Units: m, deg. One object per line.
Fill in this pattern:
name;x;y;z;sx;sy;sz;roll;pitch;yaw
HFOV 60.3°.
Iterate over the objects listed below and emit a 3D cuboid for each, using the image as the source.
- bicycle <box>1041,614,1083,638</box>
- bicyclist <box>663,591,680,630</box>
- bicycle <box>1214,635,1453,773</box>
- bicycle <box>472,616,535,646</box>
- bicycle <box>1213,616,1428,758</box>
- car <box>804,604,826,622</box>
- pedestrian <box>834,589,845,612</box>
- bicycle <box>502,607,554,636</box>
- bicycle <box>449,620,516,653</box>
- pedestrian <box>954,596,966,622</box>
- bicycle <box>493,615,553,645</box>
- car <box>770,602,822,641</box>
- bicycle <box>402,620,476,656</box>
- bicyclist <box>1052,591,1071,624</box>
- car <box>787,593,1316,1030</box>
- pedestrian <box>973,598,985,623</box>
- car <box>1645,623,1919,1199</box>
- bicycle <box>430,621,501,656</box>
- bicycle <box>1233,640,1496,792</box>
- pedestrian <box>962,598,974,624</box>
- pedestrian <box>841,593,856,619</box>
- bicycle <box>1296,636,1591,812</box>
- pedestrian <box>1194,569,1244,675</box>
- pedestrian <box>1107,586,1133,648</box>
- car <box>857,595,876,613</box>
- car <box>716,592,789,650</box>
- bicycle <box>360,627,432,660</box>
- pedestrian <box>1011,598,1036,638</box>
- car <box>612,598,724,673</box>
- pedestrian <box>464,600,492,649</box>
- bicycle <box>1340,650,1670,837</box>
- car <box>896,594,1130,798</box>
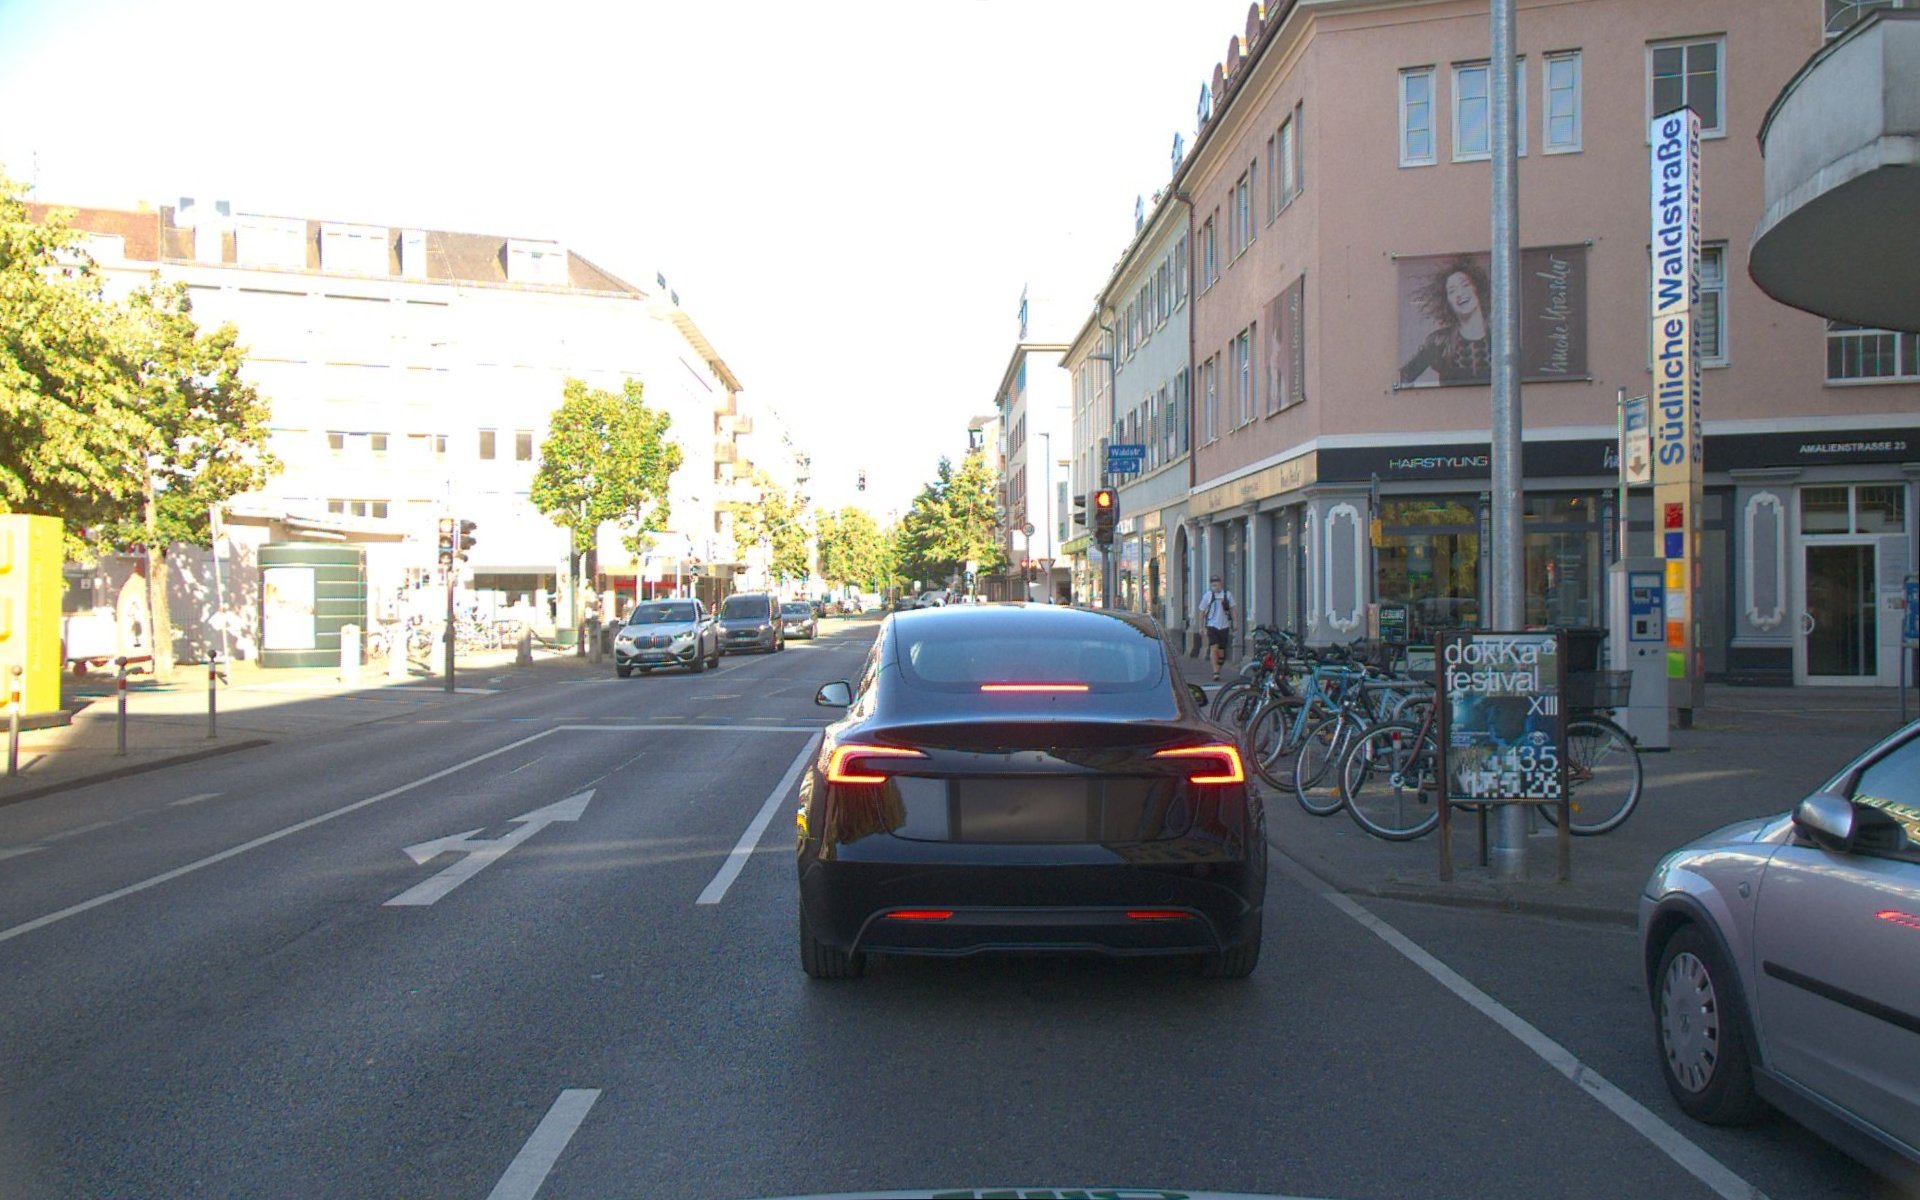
bicycle;4.407;1.133;71.383;1.756;1.024;0.469;1;-1;-17
bicyclist;-11.497;0.413;65.893;0.516;1.530;0.473;1;-1;-24
bicycle;3.060;0.849;13.654;1.833;1.056;0.548;-2;-1;5
bicycle;-14.326;0.971;51.939;1.826;0.950;0.606;0;0;-2
bicycle;3.203;0.766;14.776;1.789;1.189;0.506;-2;-1;5
car;-12.785;1.137;145.882;1.671;1.579;3.696;0;0;0
pedestrian;-10.946;0.040;150.445;0.900;2.049;0.933;0;0;-1
bicycle;-20.257;1.025;77.580;2.334;1.318;0.509;1;-1;-27
bicycle;-14.311;1.093;49.586;1.826;0.950;0.606;1;0;-2
pedestrian;0.023;0.524;95.422;0.467;1.442;0.516;1;-1;-32
bicycle;-14.361;0.980;54.386;1.826;0.950;0.606;0;0;-2
car;-6.442;0.817;65.158;1.680;1.471;3.844;1;0;-1
bicycle;-14.156;1.034;44.970;1.826;0.950;0.606;1;0;-2
bicyclist;4.384;0.335;71.388;0.659;1.420;0.460;1;-1;-17
car;0.285;0.722;7.589;1.785;1.467;3.999;0;0;-1
pedestrian;1.081;0.592;95.554;0.516;1.447;0.474;1;-1;-31
car;2.916;0.777;3.486;1.515;1.415;3.476;0;0;0
bicycle;-14.074;1.087;47.116;1.826;0.950;0.606;1;0;-2
bicycle;3.027;0.864;12.479;1.834;1.056;0.533;-2;-1;3
pedestrian;0.474;0.629;94.730;0.516;1.447;0.474;1;-1;-31
pedestrian;-7.477;0.421;111.246;0.830;1.725;0.718;0;0;13
bicycle;3.244;0.828;11.183;1.834;1.106;0.414;-2;-1;3
pedestrian;4.516;0.383;28.900;0.735;1.796;0.837;-2;-1;3
pedestrian;4.602;0.484;47.611;0.692;1.773;0.540;0;0;-1
car;-10.590;0.459;186.947;1.953;2.049;3.999;0;0;-1
car;-6.301;0.605;50.627;1.751;1.675;4.401;0;0;-1
bicycle;-14.447;1.112;42.385;1.612;0.806;0.606;1;0;-5
pedestrian;2.673;0.756;69.553;0.742;1.660;0.951;1;-1;-18
car;-6.294;0.742;36.020;1.752;1.485;3.756;-2;0;-1
pedestrian;-20.394;1.037;69.989;1.041;2.049;1.049;1;-1;-20
bicycle;3.273;0.865;10.022;1.833;1.056;0.353;-2;-1;6
car;0.313;0.686;13.812;1.683;1.450;3.755;0;0;-2
